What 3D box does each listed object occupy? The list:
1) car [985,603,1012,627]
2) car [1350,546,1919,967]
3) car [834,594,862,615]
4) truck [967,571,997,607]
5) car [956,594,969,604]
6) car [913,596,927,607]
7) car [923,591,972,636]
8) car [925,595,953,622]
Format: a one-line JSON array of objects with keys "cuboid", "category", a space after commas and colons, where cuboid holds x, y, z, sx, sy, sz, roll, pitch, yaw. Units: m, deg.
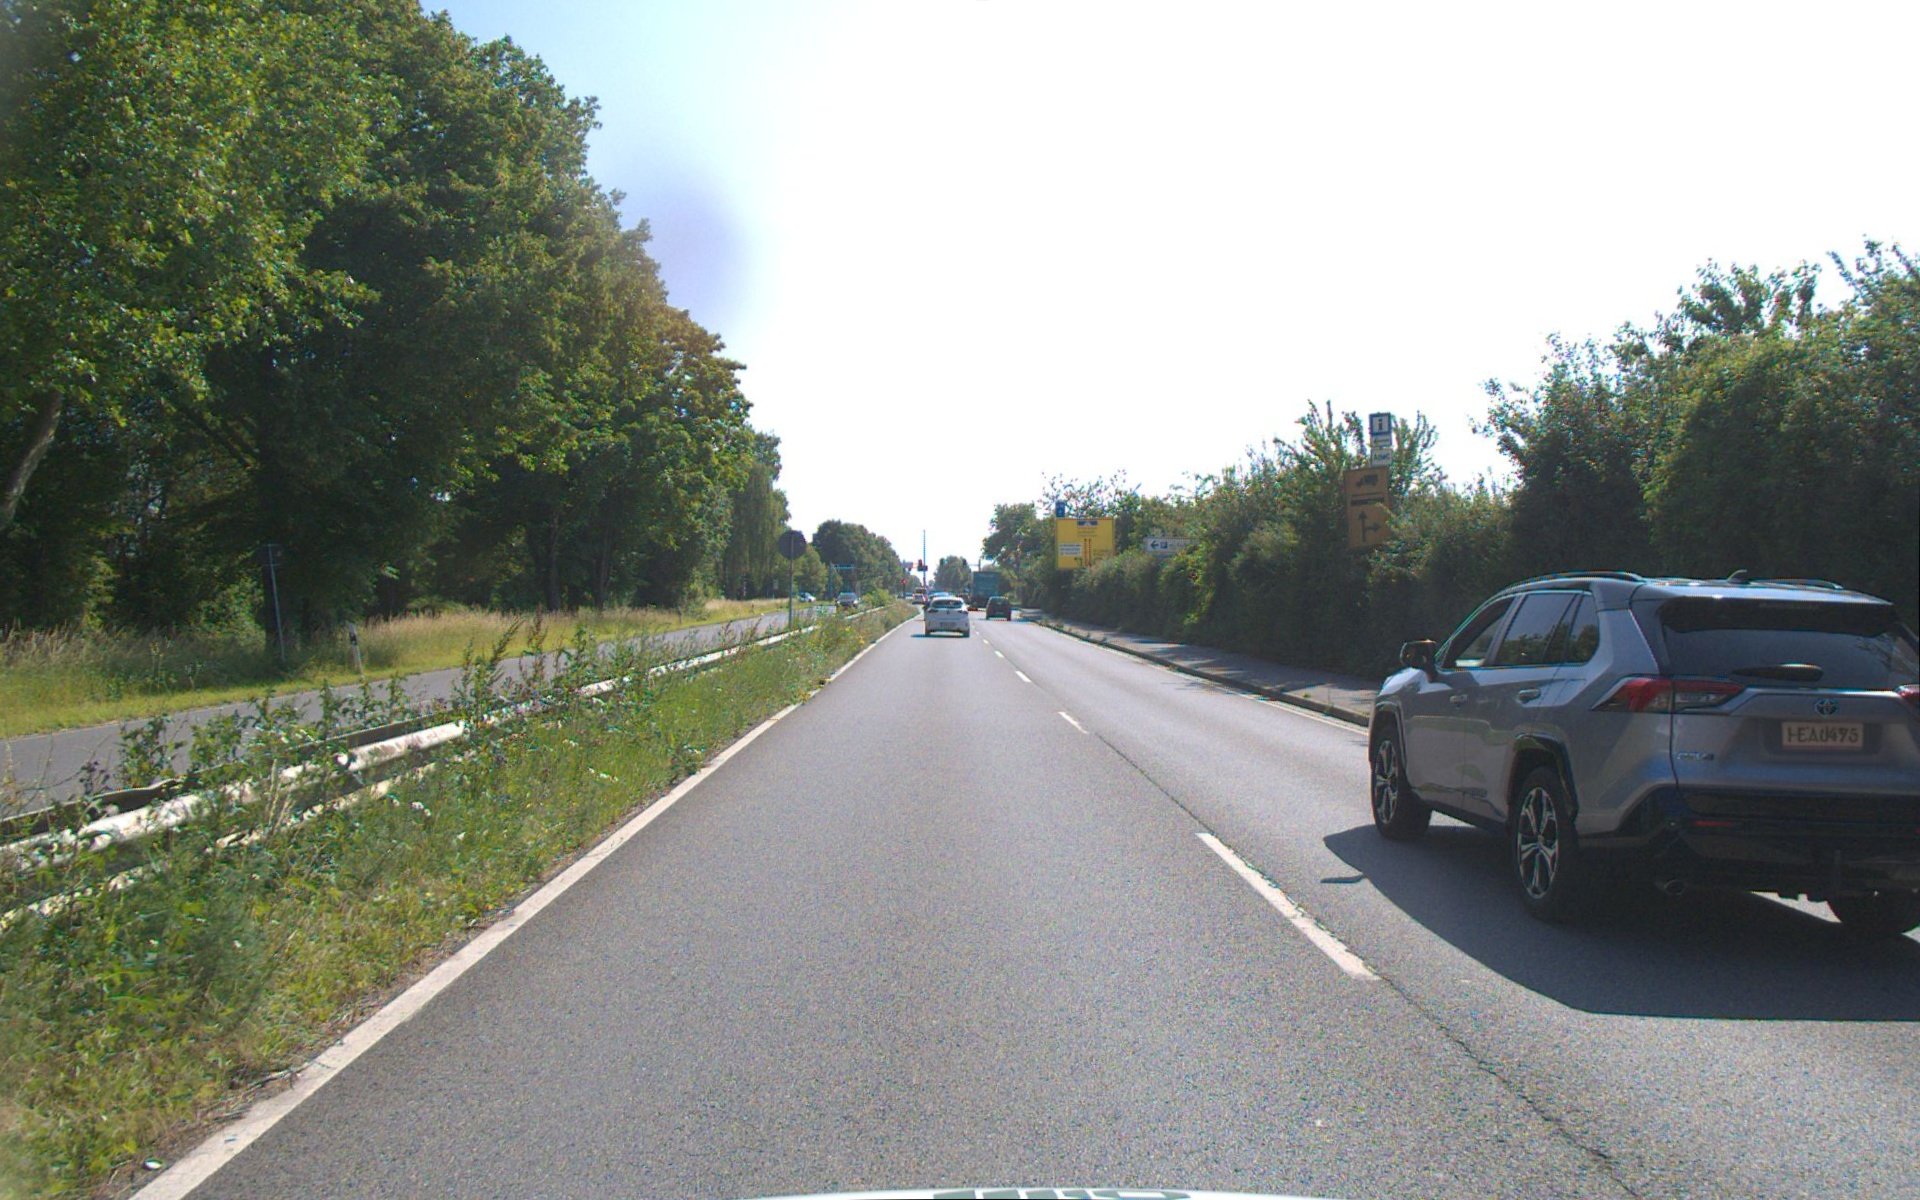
[{"cuboid": [2.423, 0.962, 104.175, 1.540, 1.439, 3.277, 1, -1, -1], "category": "car"}, {"cuboid": [3.711, 0.658, 9.218, 1.863, 1.709, 4.682, 2, 0, -1], "category": "car"}, {"cuboid": [-8.694, 0.359, 128.639, 1.742, 1.557, 4.162, -1, 0, 2], "category": "car"}, {"cuboid": [2.130, -1.066, 163.935, 2.833, 3.488, 9.167, 0, 0, -1], "category": "truck"}, {"cuboid": [0.416, -0.135, 251.028, 1.775, 1.490, 4.460, 0, 0, 1], "category": "car"}, {"cuboid": [-5.736, 0.262, 234.919, 1.775, 1.490, 4.971, -1, 0, 1], "category": "car"}, {"cuboid": [-0.458, 0.494, 62.394, 1.762, 1.580, 4.000, 1, 0, 0], "category": "car"}, {"cuboid": [-1.182, 0.487, 94.753, 1.540, 1.439, 3.277, 2, 0, -1], "category": "car"}]
